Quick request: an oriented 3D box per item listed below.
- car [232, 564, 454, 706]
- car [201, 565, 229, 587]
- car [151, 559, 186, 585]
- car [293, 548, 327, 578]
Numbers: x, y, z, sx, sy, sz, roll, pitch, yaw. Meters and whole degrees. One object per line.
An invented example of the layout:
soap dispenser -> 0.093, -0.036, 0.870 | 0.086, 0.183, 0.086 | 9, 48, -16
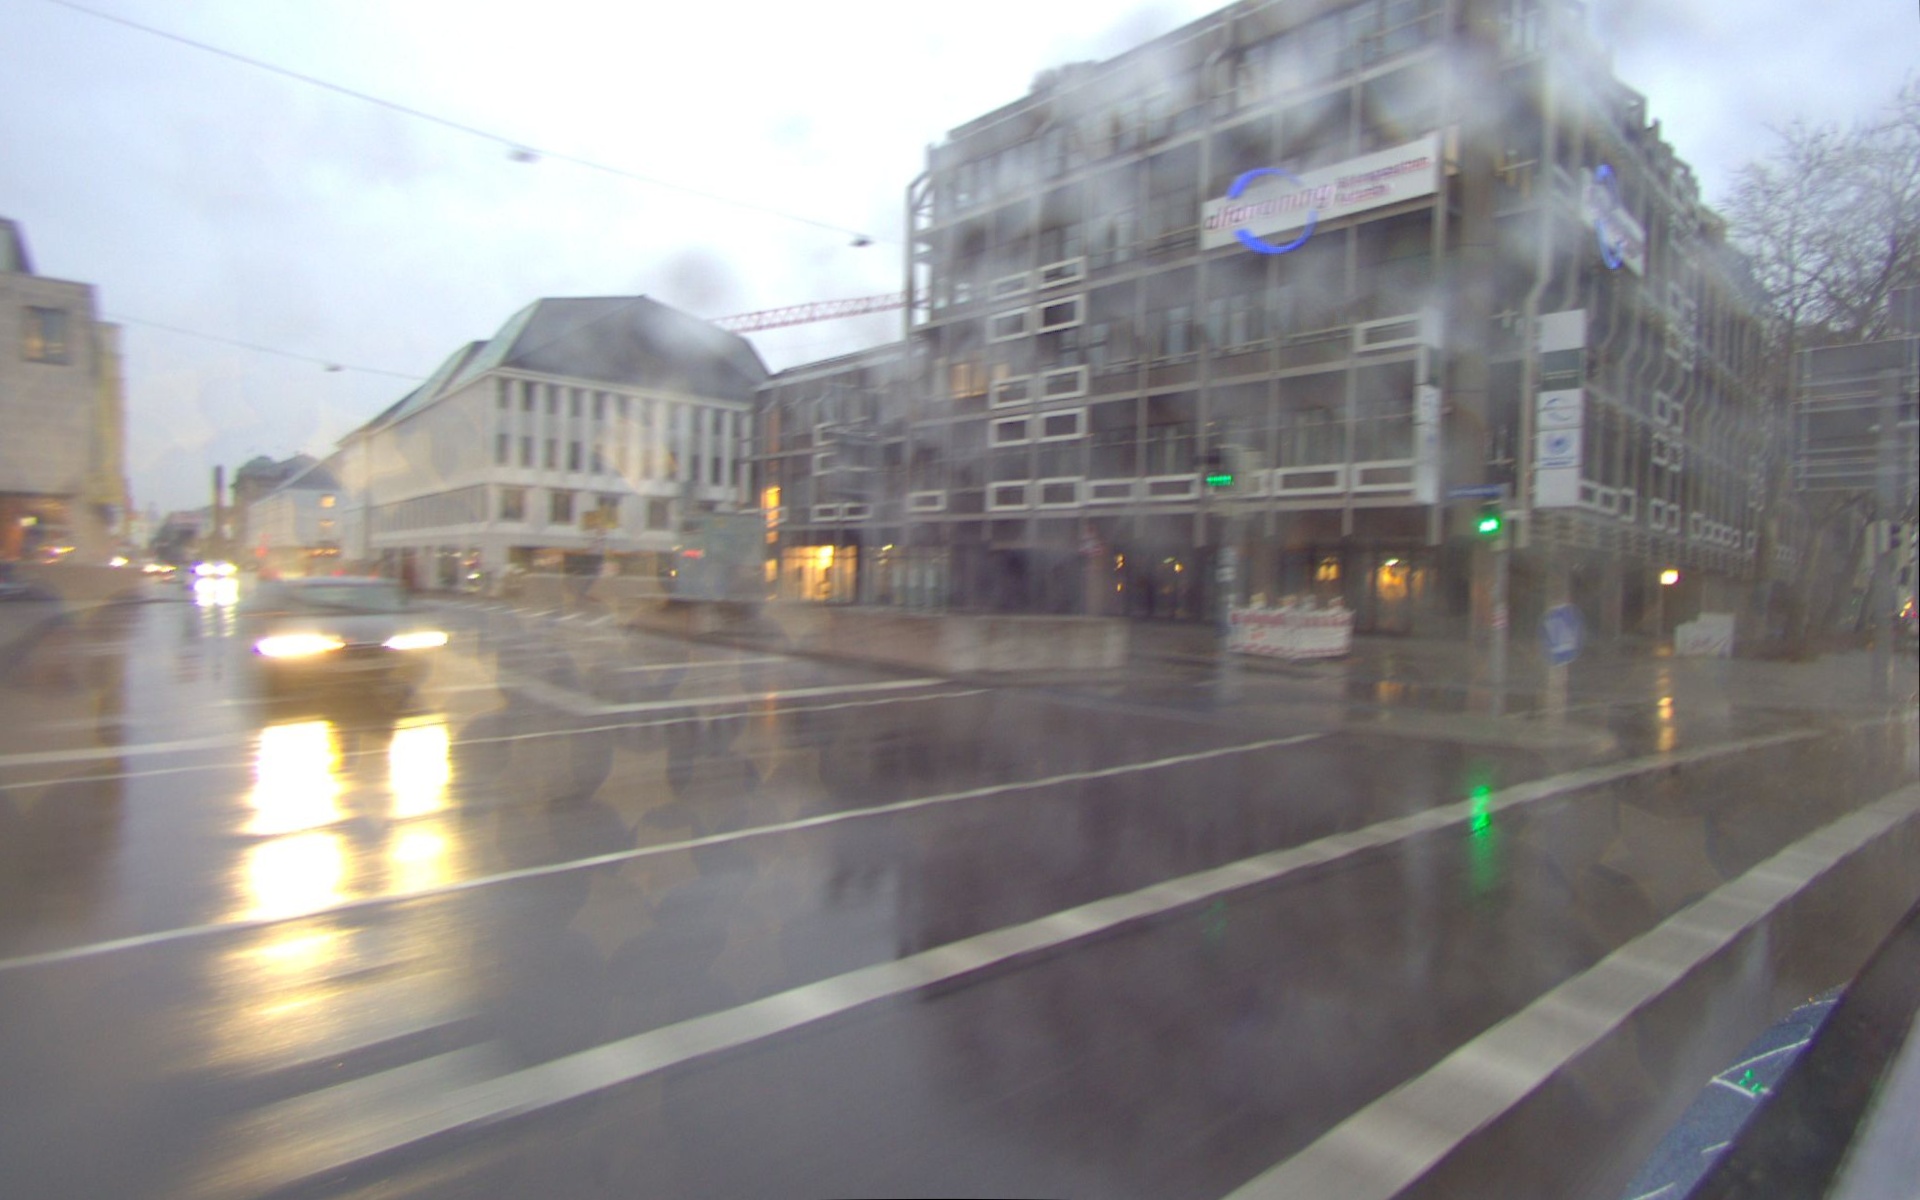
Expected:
car -> -8.078, 0.311, 13.103 | 1.825, 1.509, 3.822 | -1, 3, -41
car -> -64.024, -2.065, 86.965 | 1.869, 1.706, 3.935 | 1, 2, -38
car -> -55.337, -1.968, 70.784 | 1.869, 1.706, 3.935 | 1, 2, -38
car -> -58.270, -3.259, 90.654 | 1.935, 2.531, 3.993 | 1, 0, -42
